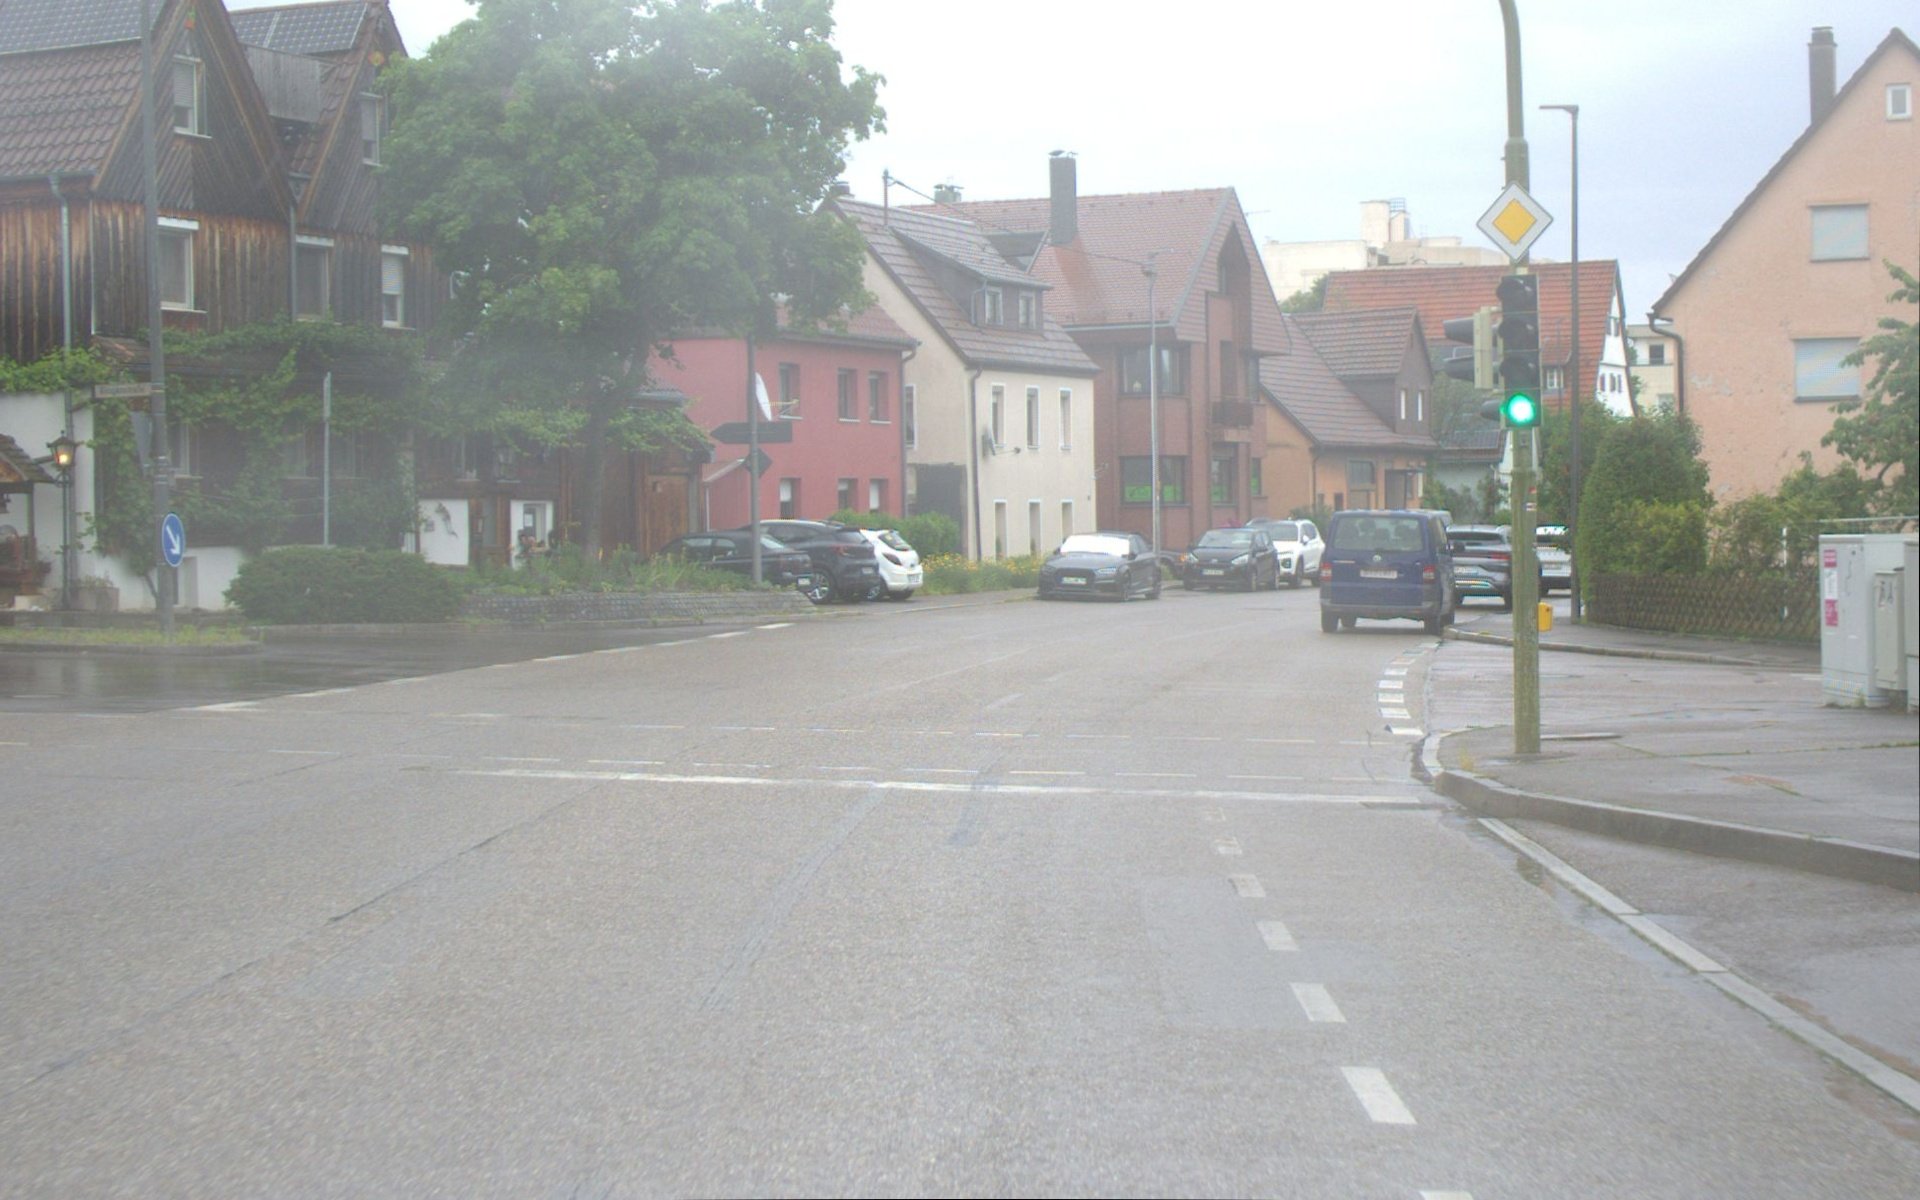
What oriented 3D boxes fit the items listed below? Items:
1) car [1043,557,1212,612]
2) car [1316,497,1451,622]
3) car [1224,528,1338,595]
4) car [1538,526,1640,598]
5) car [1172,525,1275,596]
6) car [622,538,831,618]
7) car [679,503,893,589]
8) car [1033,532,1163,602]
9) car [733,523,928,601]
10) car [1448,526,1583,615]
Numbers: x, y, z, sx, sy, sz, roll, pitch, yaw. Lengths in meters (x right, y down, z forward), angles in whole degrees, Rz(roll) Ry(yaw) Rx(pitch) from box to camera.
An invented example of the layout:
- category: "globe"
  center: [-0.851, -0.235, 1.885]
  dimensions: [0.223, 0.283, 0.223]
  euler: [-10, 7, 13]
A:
- category: "car"
  center: [4.539, -0.420, 93.159]
  dimensions: [4.178, 1.398, 1.787]
  euler: [-1, 1, 26]
- category: "car"
  center: [6.906, -0.673, 55.699]
  dimensions: [1.931, 1.896, 4.792]
  euler: [1, 1, 10]
- category: "car"
  center: [8.005, -0.972, 85.438]
  dimensions: [1.766, 1.613, 4.652]
  euler: [0, 1, 19]
- category: "car"
  center: [14.609, -0.885, 79.731]
  dimensions: [1.804, 1.589, 4.608]
  euler: [1, 1, 17]
- category: "car"
  center: [6.231, -0.943, 80.931]
  dimensions: [1.607, 1.612, 3.273]
  euler: [0, 1, 19]
- category: "car"
  center: [-4.275, -0.400, 63.005]
  dimensions: [3.449, 1.413, 1.631]
  euler: [0, 1, 21]
- category: "car"
  center: [-3.313, -1.039, 65.426]
  dimensions: [3.580, 1.501, 1.853]
  euler: [2, 2, 23]
- category: "car"
  center: [2.882, -0.707, 71.208]
  dimensions: [1.628, 1.351, 4.107]
  euler: [2, 2, 18]
- category: "car"
  center: [-2.544, -0.749, 67.670]
  dimensions: [3.465, 1.474, 1.589]
  euler: [0, 1, 21]
- category: "car"
  center: [11.395, -0.635, 70.289]
  dimensions: [1.910, 1.711, 4.551]
  euler: [2, 2, 19]
